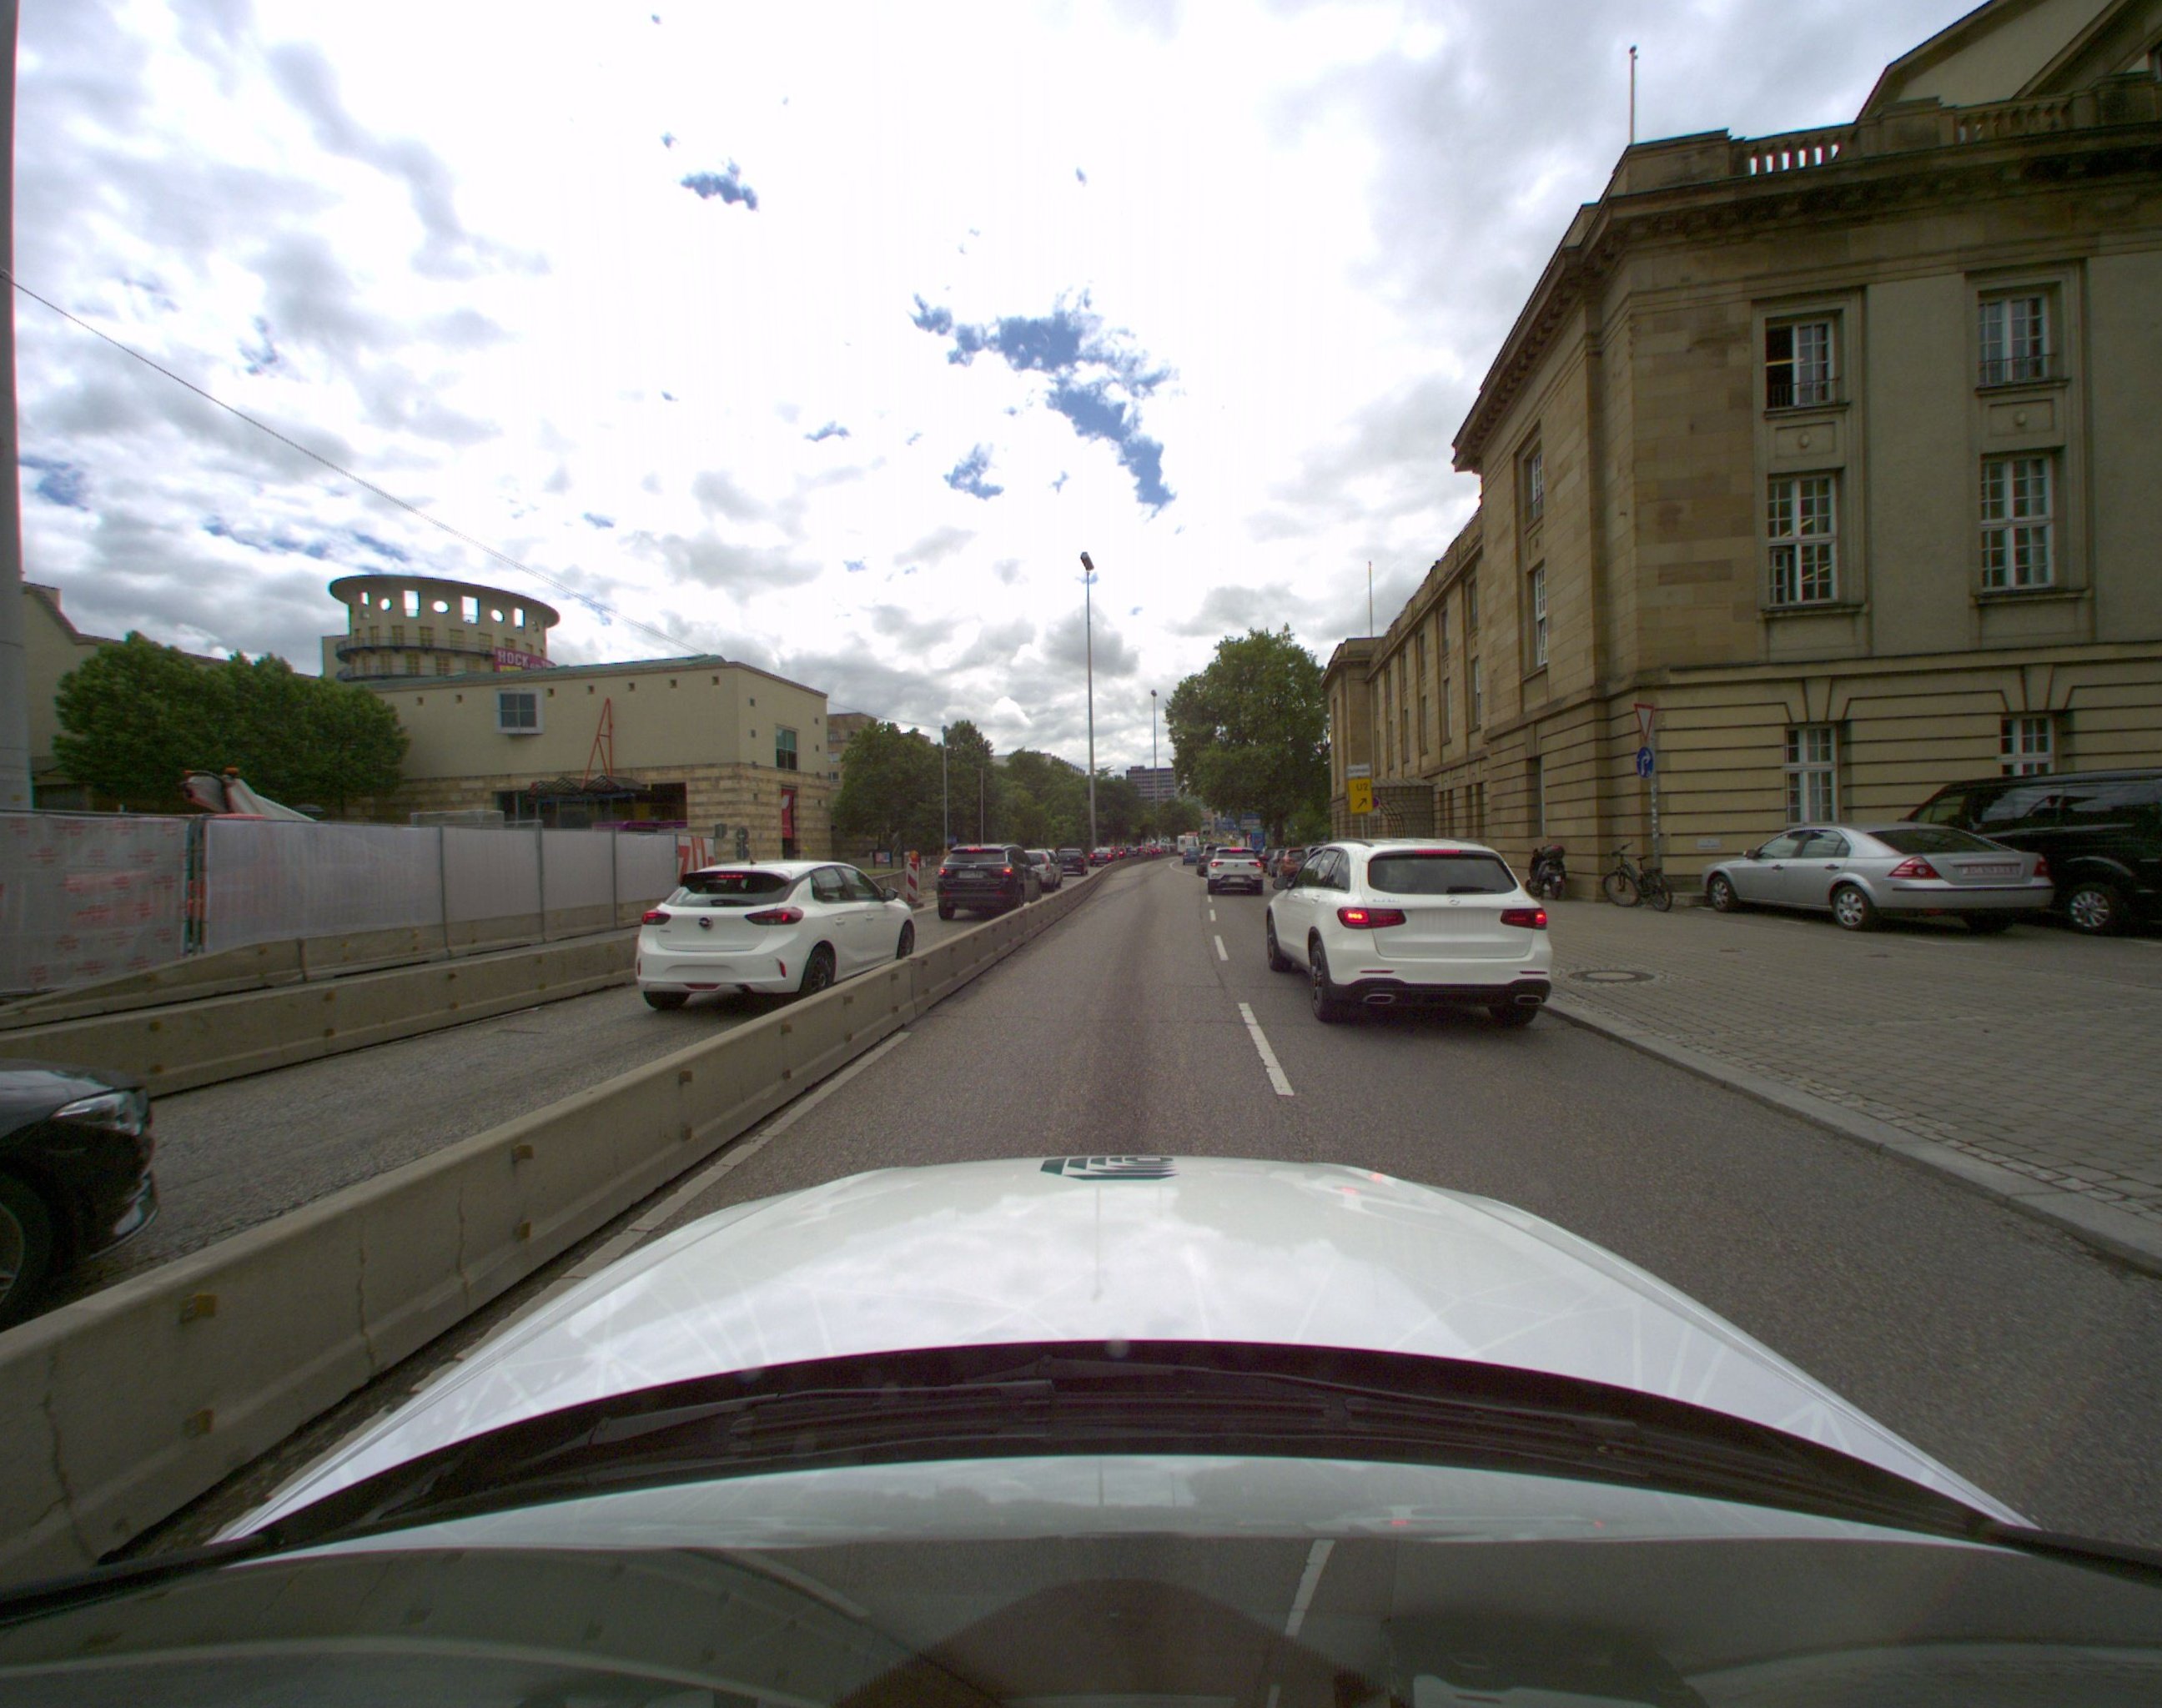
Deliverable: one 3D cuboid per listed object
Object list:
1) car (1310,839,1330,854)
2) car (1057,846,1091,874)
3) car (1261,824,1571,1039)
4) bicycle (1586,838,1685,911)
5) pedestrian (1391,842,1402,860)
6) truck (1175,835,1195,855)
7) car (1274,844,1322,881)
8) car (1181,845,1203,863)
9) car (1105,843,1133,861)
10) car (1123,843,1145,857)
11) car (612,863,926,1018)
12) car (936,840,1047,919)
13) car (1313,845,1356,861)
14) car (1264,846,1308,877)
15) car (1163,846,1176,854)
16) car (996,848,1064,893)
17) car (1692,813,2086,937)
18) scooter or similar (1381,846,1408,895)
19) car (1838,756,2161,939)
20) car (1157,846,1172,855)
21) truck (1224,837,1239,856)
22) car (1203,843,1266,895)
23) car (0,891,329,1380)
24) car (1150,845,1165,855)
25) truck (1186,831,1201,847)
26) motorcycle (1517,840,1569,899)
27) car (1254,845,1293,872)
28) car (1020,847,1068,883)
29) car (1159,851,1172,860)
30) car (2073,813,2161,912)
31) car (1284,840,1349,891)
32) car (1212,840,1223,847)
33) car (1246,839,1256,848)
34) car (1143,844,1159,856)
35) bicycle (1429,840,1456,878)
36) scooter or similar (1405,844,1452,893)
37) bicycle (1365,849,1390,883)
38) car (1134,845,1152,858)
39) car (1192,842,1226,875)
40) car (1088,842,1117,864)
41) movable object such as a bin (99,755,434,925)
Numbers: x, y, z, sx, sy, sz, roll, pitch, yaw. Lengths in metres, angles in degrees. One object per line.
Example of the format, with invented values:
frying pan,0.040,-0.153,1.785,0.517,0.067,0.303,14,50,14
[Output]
car,26.828,-0.862,91.554,1.749,1.551,4.040,-1,2,11
car,-0.326,0.294,44.326,1.652,1.454,4.200,0,0,2
car,3.064,0.578,8.503,1.779,1.625,4.444,1,0,6
bicycle,10.178,0.351,15.028,0.606,1.224,1.966,-4,0,7
pedestrian,15.449,-0.146,39.858,0.426,0.873,0.374,1,0,11
truck,15.533,-1.373,121.560,2.605,2.861,7.098,0,1,10
car,9.458,0.341,35.755,1.606,1.455,3.868,-2,0,9
car,8.989,0.013,65.673,1.649,1.413,3.557,0,0,10
car,3.322,-0.186,70.062,1.805,1.499,4.782,-1,0,10
car,5.351,-0.444,82.174,1.668,1.367,4.556,-1,1,10
car,-3.140,0.784,9.147,1.718,1.296,3.941,0,0,5
car,-1.937,0.529,18.833,1.767,1.621,4.052,0,0,5
car,24.664,-0.110,79.410,3.812,1.568,1.684,-1,0,10
car,10.212,0.334,40.778,1.698,1.426,4.007,-2,0,9
car,14.192,-0.675,130.469,1.648,1.319,3.559,0,0,11
car,-1.726,0.518,29.269,1.870,1.481,4.709,0,0,3
car,11.319,0.207,11.997,1.768,1.469,4.586,0,1,8
scooter or similar,8.400,0.421,21.876,0.377,1.261,1.407,-1,0,10
car,13.566,-0.125,11.382,1.937,2.068,4.928,0,1,8
car,11.437,-0.478,111.564,1.647,1.319,3.560,0,0,13
truck,32.956,-1.570,178.310,2.861,4.103,6.653,0,1,8
car,5.096,0.454,27.478,1.787,1.608,3.761,-1,1,6
car,-4.355,0.891,1.238,1.844,1.415,4.575,0,0,7
car,10.004,-0.488,106.839,1.649,1.319,3.557,0,0,10
truck,22.009,-2.979,159.141,2.675,2.991,5.653,1,0,9
motorcycle,10.425,0.324,18.419,0.452,1.242,1.929,-2,0,13
car,11.057,0.232,47.009,1.778,1.486,4.335,0,0,8
car,-1.627,0.458,36.873,1.664,1.507,3.859,0,0,5
car,12.540,0.272,120.548,1.648,1.319,3.559,0,0,11
car,16.146,0.135,10.912,1.633,1.413,3.626,0,1,8
car,8.079,0.353,28.185,1.537,1.552,3.717,-4,0,8
car,26.873,-1.996,160.169,1.934,1.319,4.029,0,0,11
car,35.886,-2.193,172.185,1.980,2.013,4.013,0,0,11
car,8.520,-0.516,99.097,1.766,1.420,4.009,-1,1,8
bicycle,12.636,0.173,28.525,0.410,1.288,1.795,-1,0,10
scooter or similar,9.218,0.387,21.646,0.451,1.253,1.364,-1,-1,-11
bicycle,10.267,0.396,28.263,0.457,1.156,1.836,-1,0,9
car,6.921,-0.289,90.982,1.651,1.436,3.971,0,0,10
car,6.654,0.221,42.691,1.650,1.639,3.555,-1,0,8
car,1.703,-0.088,62.095,1.914,1.636,4.944,0,0,5
movable object such as a bin,-11.952,-0.196,12.273,1.514,2.185,3.298,-1,0,5
